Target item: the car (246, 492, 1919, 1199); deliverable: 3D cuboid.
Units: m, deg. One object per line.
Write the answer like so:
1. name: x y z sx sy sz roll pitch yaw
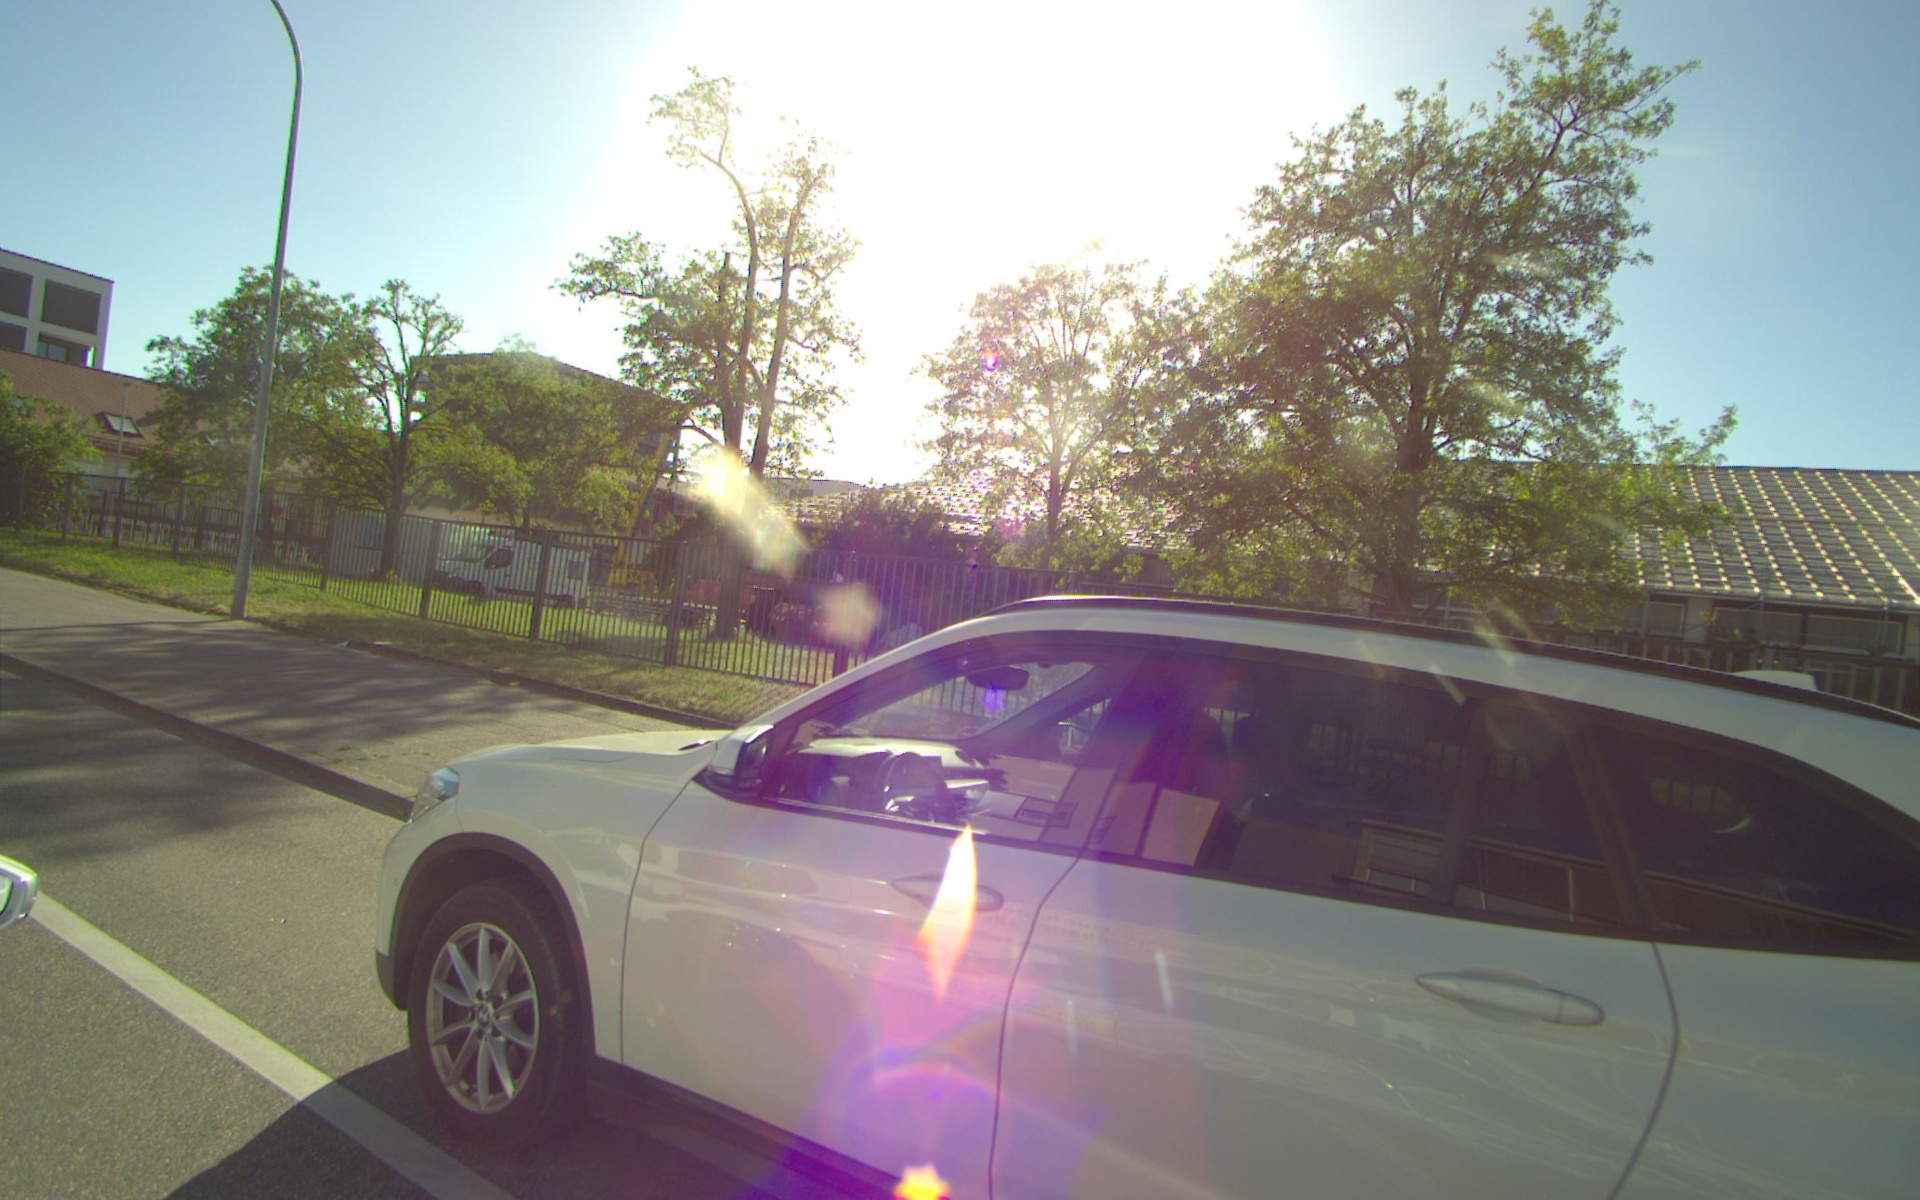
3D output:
1. car: 0.257 0.796 2.740 4.189 1.606 1.818 7 -2 29

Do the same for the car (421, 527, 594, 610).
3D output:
1. car: -16.366 -1.098 36.663 1.969 2.228 5.286 8 0 36

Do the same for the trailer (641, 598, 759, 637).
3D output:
1. trailer: -10.449 0.677 40.194 5.034 0.930 1.897 7 -1 39
